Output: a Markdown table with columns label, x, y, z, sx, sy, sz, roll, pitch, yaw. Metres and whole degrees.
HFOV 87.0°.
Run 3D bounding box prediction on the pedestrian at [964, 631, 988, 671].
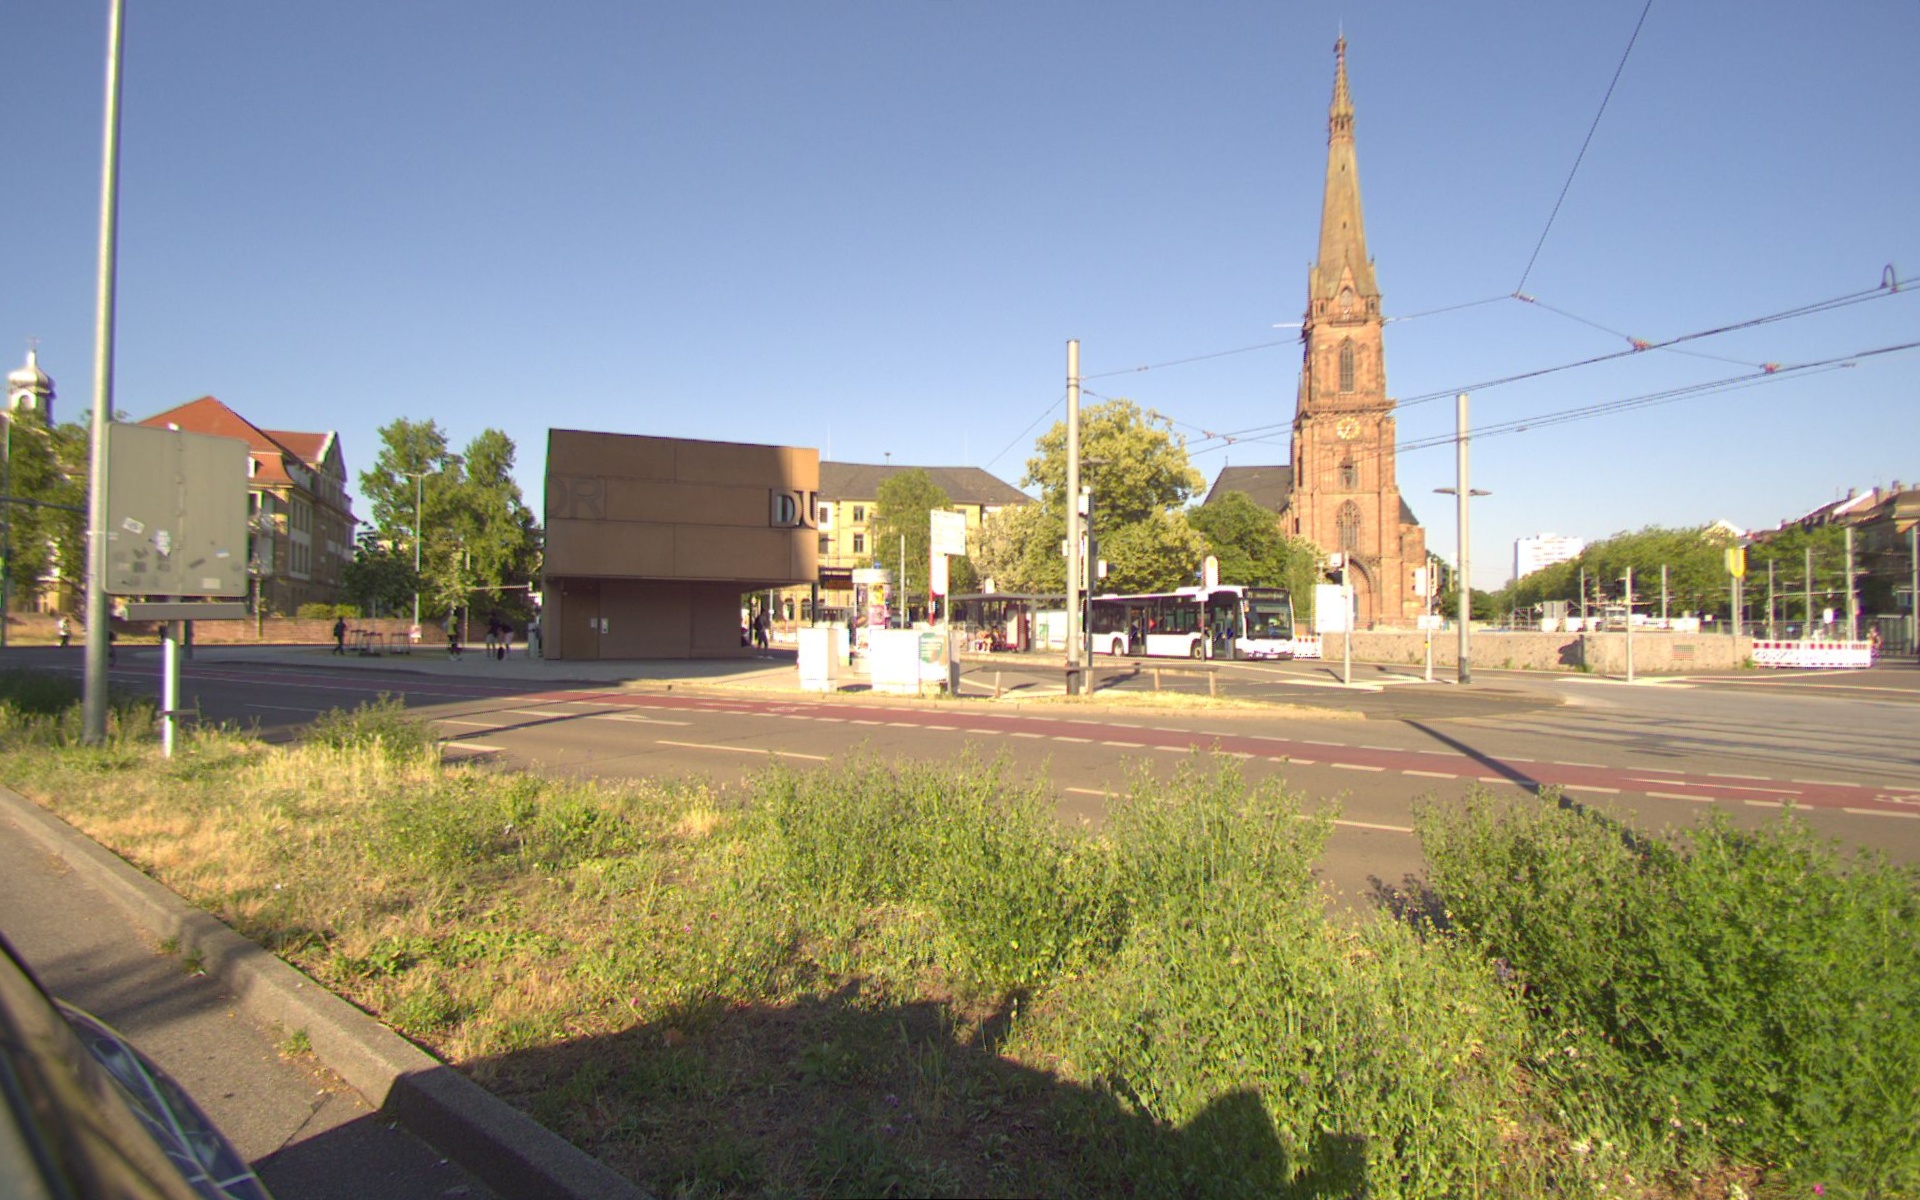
| label | x | y | z | sx | sy | sz | roll | pitch | yaw |
| --- | --- | --- | --- | --- | --- | --- | --- | --- | --- |
| pedestrian | 0.811 | 2.569 | 50.927 | 0.979 | 1.997 | 0.831 | 1 | -3 | -21 |

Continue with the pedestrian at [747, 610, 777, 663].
| label | x | y | z | sx | sy | sz | roll | pitch | yaw |
| --- | --- | --- | --- | --- | --- | --- | --- | --- | --- |
| pedestrian | -7.629 | 1.420 | 38.946 | 0.964 | 1.997 | 0.721 | 1 | -3 | -23 |

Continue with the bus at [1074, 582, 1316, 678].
| label | x | y | z | sx | sy | sz | roll | pitch | yaw |
| --- | --- | --- | --- | --- | --- | --- | --- | --- | --- |
| bus | 9.318 | 1.067 | 42.661 | 3.194 | 3.342 | 12.228 | 4 | -1 | -23 |

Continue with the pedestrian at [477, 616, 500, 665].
| label | x | y | z | sx | sy | sz | roll | pitch | yaw |
| --- | --- | --- | --- | --- | --- | --- | --- | --- | --- |
| pedestrian | -16.639 | 1.440 | 35.743 | 0.629 | 1.702 | 0.551 | 0 | -3 | -36 |

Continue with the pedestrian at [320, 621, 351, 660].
| label | x | y | z | sx | sy | sz | roll | pitch | yaw |
| --- | --- | --- | --- | --- | --- | --- | --- | --- | --- |
| pedestrian | -27.659 | 1.795 | 44.824 | 0.745 | 1.697 | 0.890 | -1 | -2 | 30 |

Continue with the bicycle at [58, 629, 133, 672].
| label | x | y | z | sx | sy | sz | roll | pitch | yaw |
| --- | --- | --- | --- | --- | --- | --- | --- | --- | --- |
| bicycle | -27.406 | 1.583 | 32.083 | 2.539 | 1.265 | 0.736 | 0 | -1 | 23 |

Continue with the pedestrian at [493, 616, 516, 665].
| label | x | y | z | sx | sy | sz | roll | pitch | yaw |
| --- | --- | --- | --- | --- | --- | --- | --- | --- | --- |
| pedestrian | -16.570 | 1.464 | 36.802 | 0.723 | 1.744 | 0.667 | -1 | -2 | -24 |

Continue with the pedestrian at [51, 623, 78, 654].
| label | x | y | z | sx | sy | sz | roll | pitch | yaw |
| --- | --- | --- | --- | --- | --- | --- | --- | --- | --- |
| pedestrian | -49.300 | 2.112 | 55.695 | 0.710 | 1.686 | 0.864 | 3 | 0 | 28 |

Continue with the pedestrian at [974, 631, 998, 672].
| label | x | y | z | sx | sy | sz | roll | pitch | yaw |
| --- | --- | --- | --- | --- | --- | --- | --- | --- | --- |
| pedestrian | 1.249 | 2.493 | 49.211 | 0.964 | 1.997 | 0.721 | 1 | -3 | -21 |

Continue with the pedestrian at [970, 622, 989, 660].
| label | x | y | z | sx | sy | sz | roll | pitch | yaw |
| --- | --- | --- | --- | --- | --- | --- | --- | --- | --- |
| pedestrian | 1.029 | 2.189 | 53.705 | 0.802 | 1.997 | 0.757 | 1 | -3 | -21 |

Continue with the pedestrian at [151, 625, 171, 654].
| label | x | y | z | sx | sy | sz | roll | pitch | yaw |
| --- | --- | --- | --- | --- | --- | --- | --- | --- | --- |
| pedestrian | -46.029 | 2.274 | 58.299 | 0.780 | 1.665 | 0.715 | 3 | -1 | -33 |

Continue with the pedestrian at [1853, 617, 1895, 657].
| label | x | y | z | sx | sy | sz | roll | pitch | yaw |
| --- | --- | --- | --- | --- | --- | --- | --- | --- | --- |
| pedestrian | 47.324 | 1.906 | 52.399 | 1.373 | 2.029 | 1.499 | -3 | -3 | 37 |

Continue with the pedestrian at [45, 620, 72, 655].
| label | x | y | z | sx | sy | sz | roll | pitch | yaw |
| --- | --- | --- | --- | --- | --- | --- | --- | --- | --- |
| pedestrian | -50.287 | 2.095 | 56.432 | 0.710 | 1.908 | 0.864 | 3 | -1 | 28 |

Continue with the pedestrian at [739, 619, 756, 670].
| label | x | y | z | sx | sy | sz | roll | pitch | yaw |
| --- | --- | --- | --- | --- | --- | --- | --- | --- | --- |
| pedestrian | -8.640 | 1.805 | 41.162 | 0.604 | 2.029 | 0.809 | -1 | -2 | -13 |

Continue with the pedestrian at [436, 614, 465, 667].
| label | x | y | z | sx | sy | sz | roll | pitch | yaw |
| --- | --- | --- | --- | --- | --- | --- | --- | --- | --- |
| pedestrian | -17.797 | 1.412 | 35.345 | 0.639 | 1.849 | 0.708 | -4 | -3 | 41 |

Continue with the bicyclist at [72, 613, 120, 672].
| label | x | y | z | sx | sy | sz | roll | pitch | yaw |
| --- | --- | --- | --- | --- | --- | --- | --- | --- | --- |
| bicyclist | -27.382 | 1.335 | 32.075 | 1.007 | 1.846 | 0.737 | 0 | -1 | 22 |
